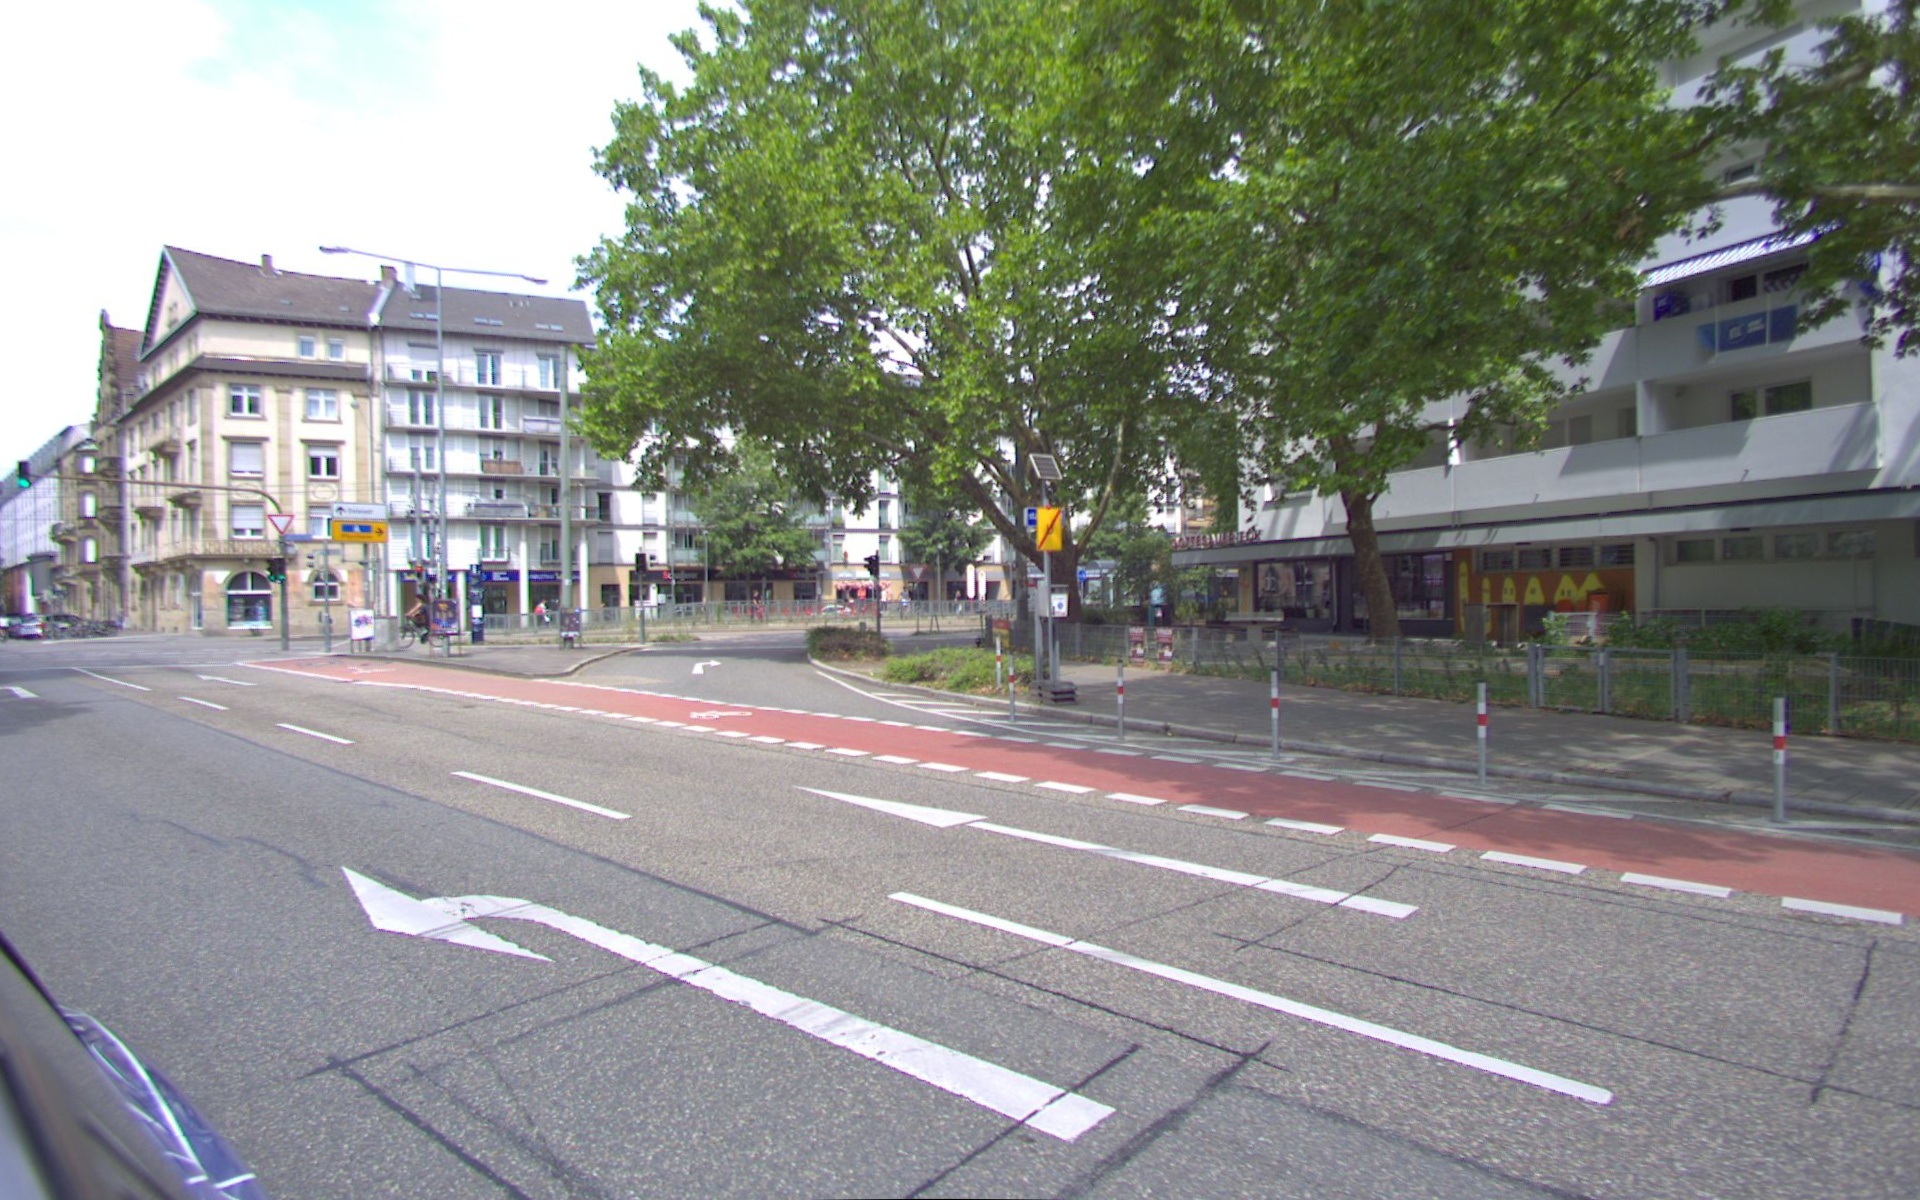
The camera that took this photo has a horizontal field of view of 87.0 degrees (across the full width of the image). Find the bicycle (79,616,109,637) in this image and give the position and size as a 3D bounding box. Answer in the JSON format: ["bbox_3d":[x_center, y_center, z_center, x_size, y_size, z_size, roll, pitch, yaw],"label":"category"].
[{"bbox_3d":[-54.864,1.658,64.086,0.397,1.201,1.330,-2,2,35],"label":"bicycle"}]

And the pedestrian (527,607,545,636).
[{"bbox_3d":[-23.018,1.149,54.905,0.824,1.564,0.871,-1,0,-25],"label":"pedestrian"}]

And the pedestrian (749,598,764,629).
[{"bbox_3d":[-10.236,0.688,50.976,0.588,1.564,0.672,-1,0,-25],"label":"pedestrian"}]

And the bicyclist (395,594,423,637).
[{"bbox_3d":[-17.786,0.501,32.667,0.739,1.352,0.493,-1,-1,-23],"label":"bicyclist"}]

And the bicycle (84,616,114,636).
[{"bbox_3d":[-54.304,1.640,63.848,0.397,1.201,1.330,-2,2,35],"label":"bicycle"}]

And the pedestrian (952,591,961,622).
[{"bbox_3d":[-0.211,0.424,66.421,0.363,2.029,0.503,0,-1,-25],"label":"pedestrian"}]

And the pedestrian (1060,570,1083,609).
[{"bbox_3d":[4.861,-0.451,44.164,0.673,1.648,0.698,0,-1,-27],"label":"pedestrian"}]

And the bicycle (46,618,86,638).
[{"bbox_3d":[-55.198,1.733,62.484,0.397,1.201,1.799,-2,-1,38],"label":"bicycle"}]

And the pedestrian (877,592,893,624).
[{"bbox_3d":[-4.700,0.503,63.370,0.744,2.029,0.763,-1,-1,-24],"label":"pedestrian"}]

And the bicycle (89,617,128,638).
[{"bbox_3d":[-53.618,1.713,63.754,0.397,1.201,1.807,-3,0,40],"label":"bicycle"}]

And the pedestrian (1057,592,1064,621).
[{"bbox_3d":[6.840,0.459,68.733,0.307,1.969,0.326,0,-1,-34],"label":"pedestrian"}]

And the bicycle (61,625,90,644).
[{"bbox_3d":[-56.090,2.177,64.184,0.397,1.201,1.328,-2,-1,40],"label":"bicycle"}]

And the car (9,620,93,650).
[{"bbox_3d":[-59.896,2.293,66.781,1.736,1.601,4.034,-4,1,2],"label":"car"}]

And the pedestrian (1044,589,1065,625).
[{"bbox_3d":[5.437,0.418,58.156,0.858,2.029,0.855,-1,-1,-26],"label":"pedestrian"}]

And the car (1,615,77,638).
[{"bbox_3d":[-64.301,1.828,70.714,1.736,1.547,3.825,-1,-1,2],"label":"car"}]

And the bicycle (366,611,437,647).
[{"bbox_3d":[-17.974,0.940,32.604,1.936,1.103,0.629,1,-2,-23],"label":"bicycle"}]

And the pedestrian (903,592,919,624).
[{"bbox_3d":[-3.119,0.506,64.338,0.744,2.029,0.763,-1,-1,-24],"label":"pedestrian"}]

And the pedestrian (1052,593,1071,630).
[{"bbox_3d":[4.511,0.524,45.107,0.497,1.636,0.698,0,-1,-27],"label":"pedestrian"}]

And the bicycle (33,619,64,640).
[{"bbox_3d":[-57.159,1.865,63.469,0.397,1.201,1.328,-2,2,40],"label":"bicycle"}]

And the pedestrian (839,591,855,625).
[{"bbox_3d":[-6.889,0.493,61.544,0.744,2.029,0.763,-1,-1,-24],"label":"pedestrian"}]

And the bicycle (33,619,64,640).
[{"bbox_3d":[-56.675,1.818,62.934,0.396,1.201,1.330,-2,2,35],"label":"bicycle"}]

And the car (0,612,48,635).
[{"bbox_3d":[-75.775,1.937,81.019,1.738,1.546,3.821,-6,3,7],"label":"car"}]

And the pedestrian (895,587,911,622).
[{"bbox_3d":[-3.667,0.295,65.083,0.744,2.267,0.763,-1,-1,-24],"label":"pedestrian"}]

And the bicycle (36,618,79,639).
[{"bbox_3d":[-54.773,1.745,61.432,1.844,1.201,0.457,-1,-1,-29],"label":"bicycle"}]

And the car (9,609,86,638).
[{"bbox_3d":[-62.336,1.592,69.187,1.736,1.833,3.825,-1,0,2],"label":"car"}]
